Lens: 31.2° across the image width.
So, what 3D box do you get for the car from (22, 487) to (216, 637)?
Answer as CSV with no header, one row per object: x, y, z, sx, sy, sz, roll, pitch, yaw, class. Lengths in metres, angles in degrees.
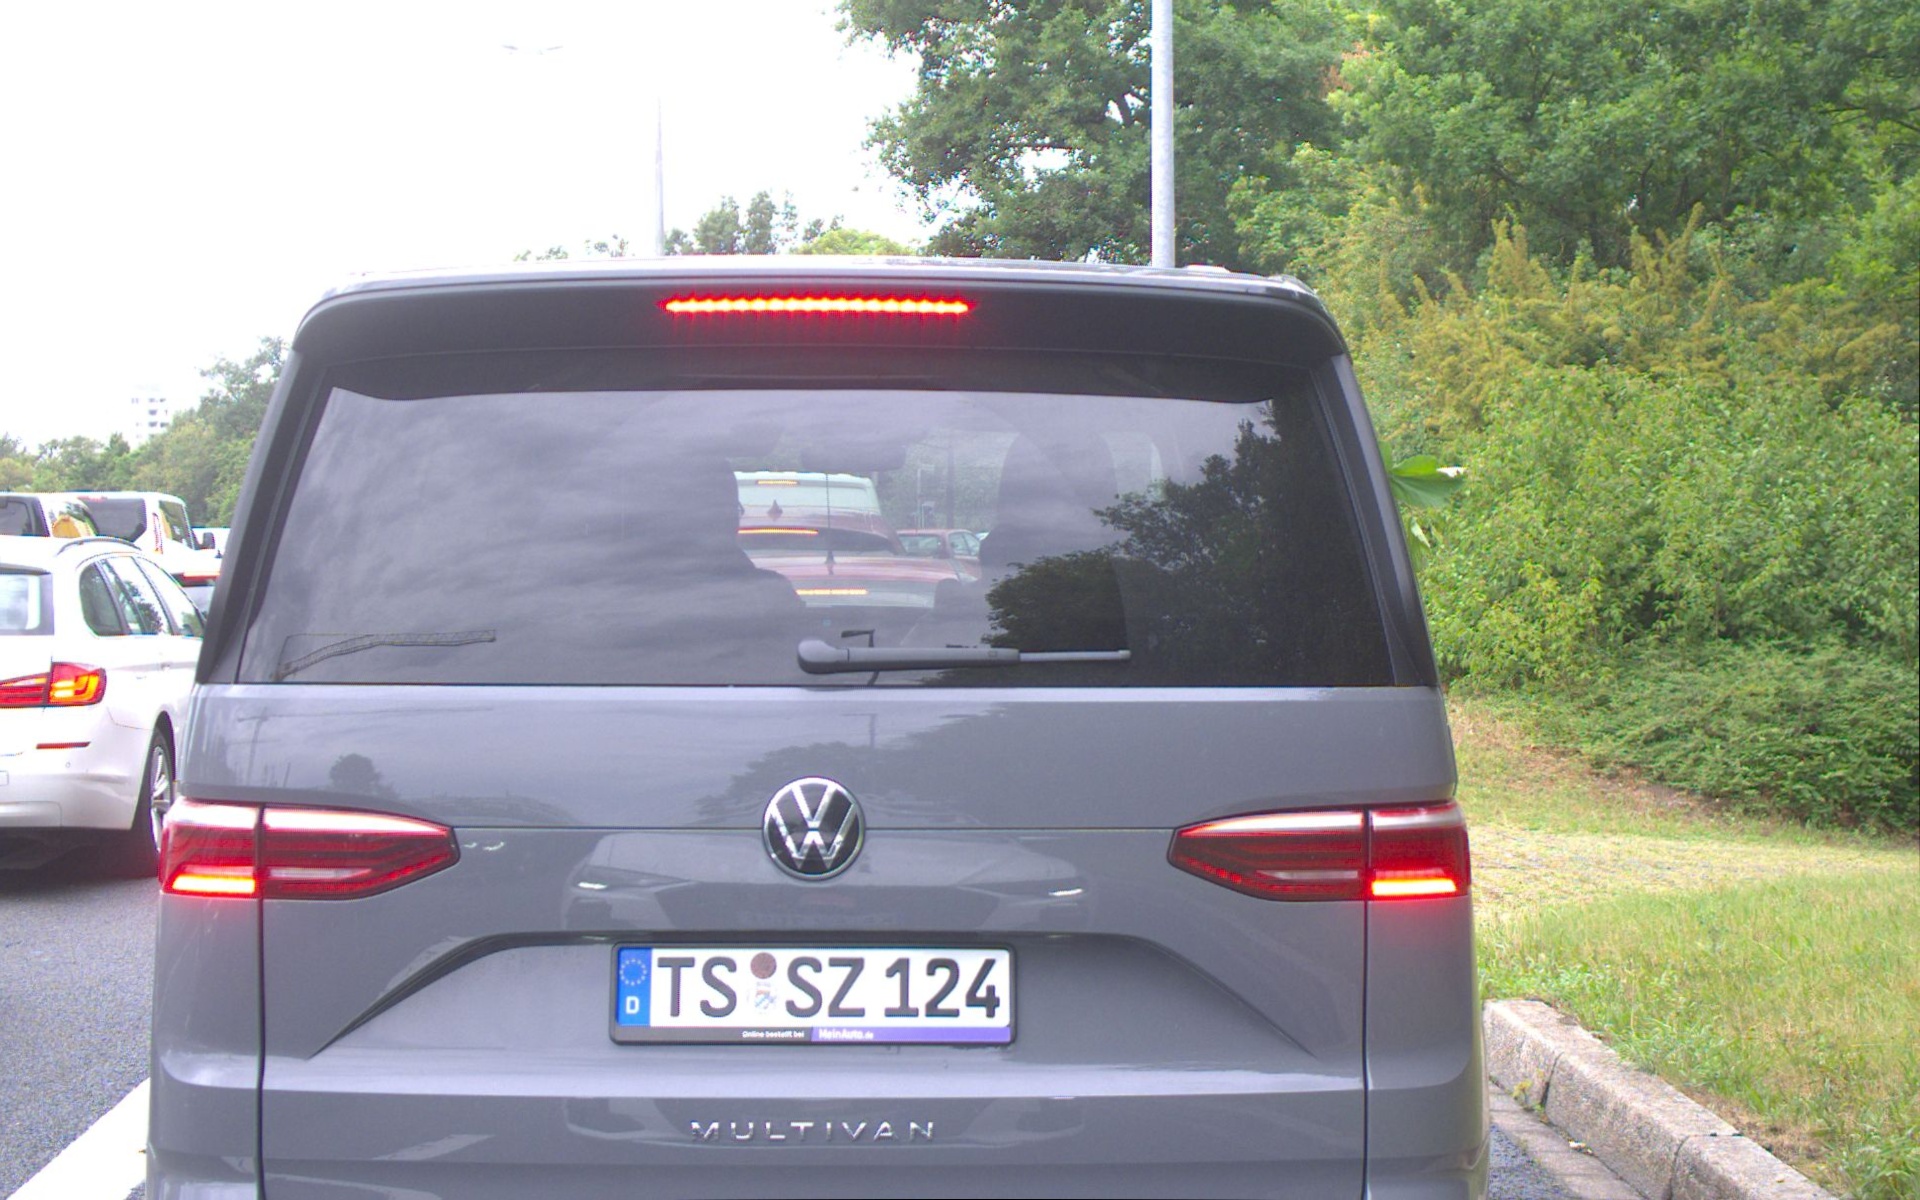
-10.042,-0.460,41.295,1.623,1.695,4.297,1,1,-5,car

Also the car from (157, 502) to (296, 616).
-11.512,-0.650,54.145,1.623,1.695,4.297,1,1,-5,car

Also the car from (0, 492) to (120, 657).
-9.395,-0.270,33.305,1.623,1.489,4.297,1,1,-2,car

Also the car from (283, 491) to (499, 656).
-6.223,-0.306,38.036,1.884,1.694,4.430,1,1,-3,car

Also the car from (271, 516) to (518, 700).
-4.883,0.035,30.171,1.623,1.489,4.297,1,1,-2,car

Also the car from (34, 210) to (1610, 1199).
-0.203,0.448,6.379,1.899,1.878,4.416,1,1,-1,car

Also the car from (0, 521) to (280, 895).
-4.338,0.395,15.980,1.623,1.489,4.547,1,1,-2,car

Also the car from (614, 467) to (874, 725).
-1.705,-0.060,27.403,1.884,1.873,4.430,1,1,-3,car

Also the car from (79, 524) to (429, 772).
-4.615,0.261,23.020,1.623,1.489,4.297,1,1,-2,car
